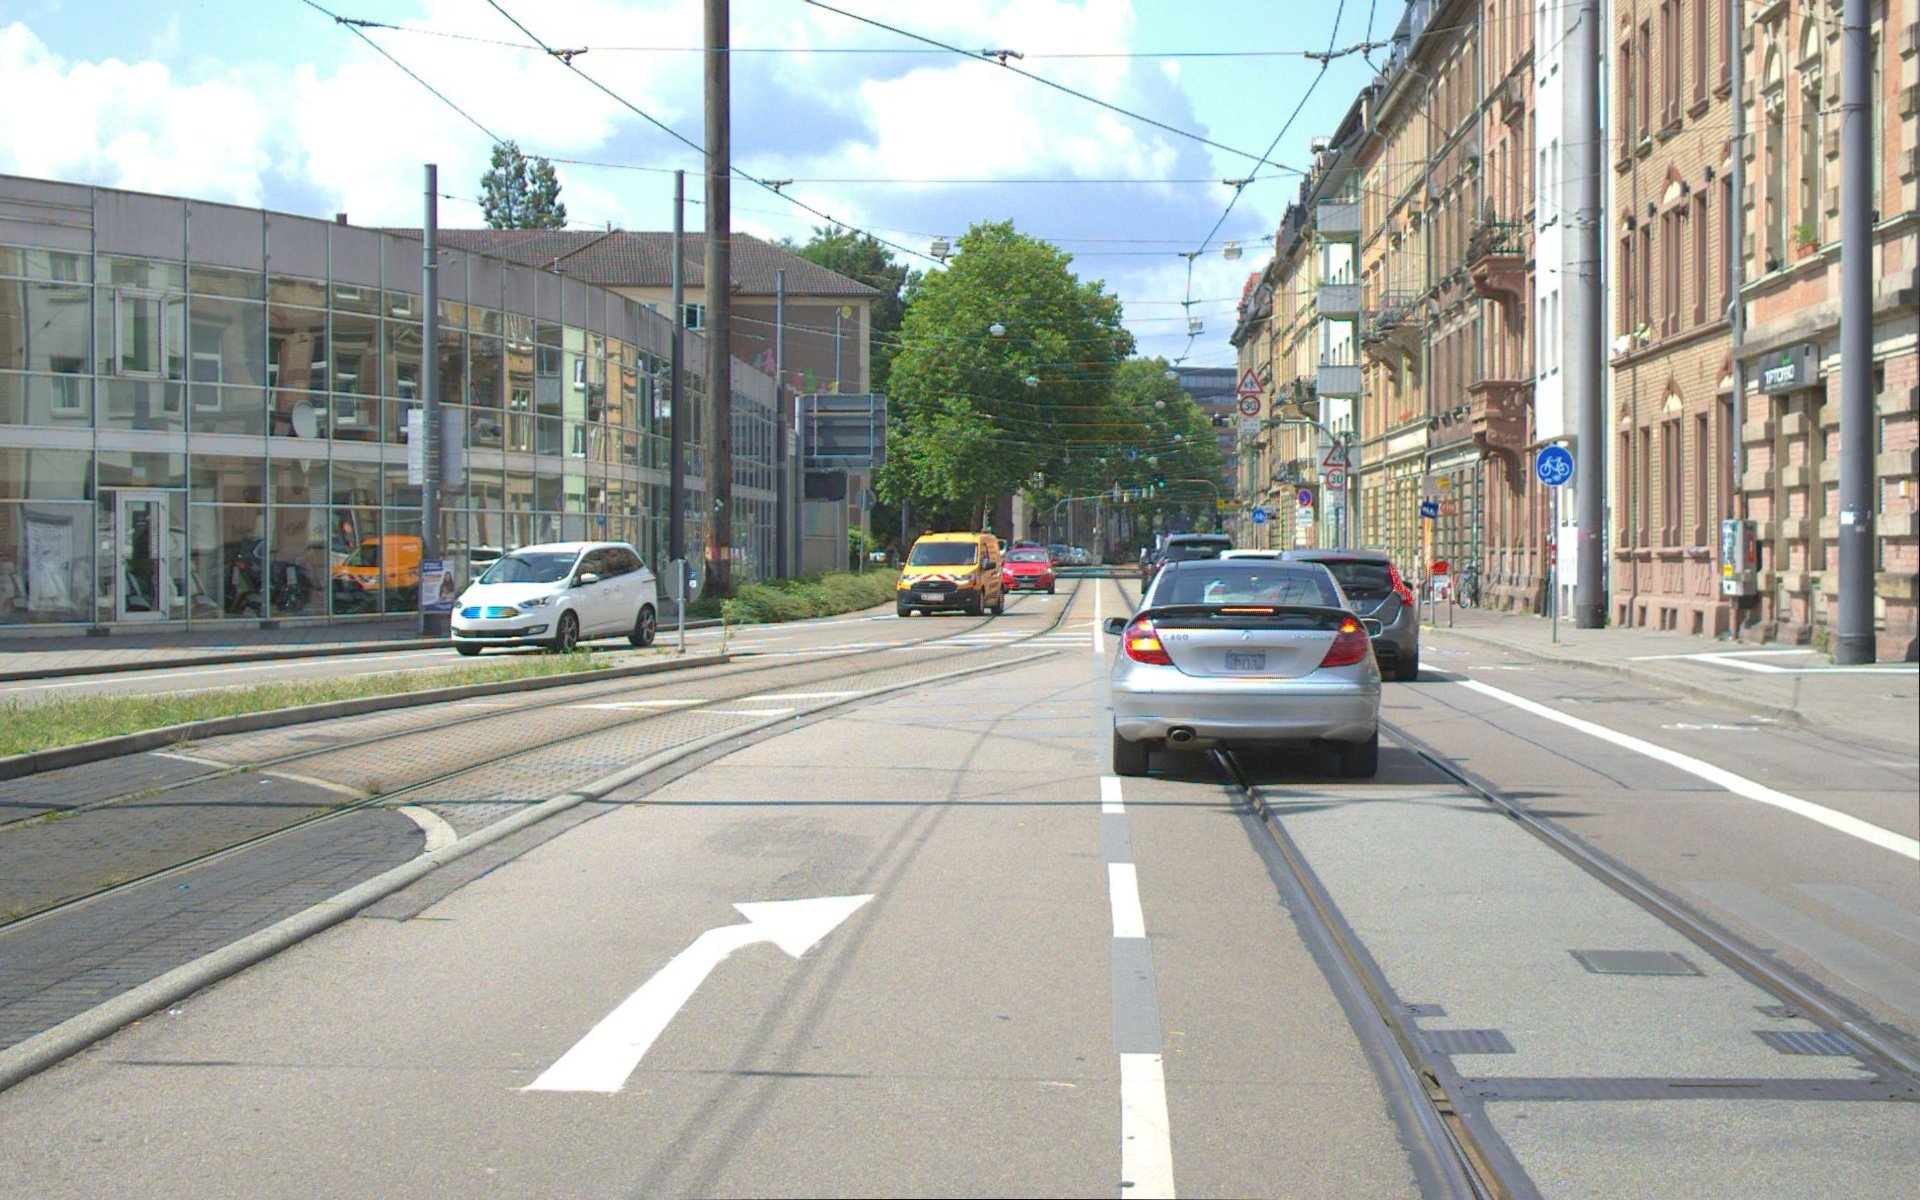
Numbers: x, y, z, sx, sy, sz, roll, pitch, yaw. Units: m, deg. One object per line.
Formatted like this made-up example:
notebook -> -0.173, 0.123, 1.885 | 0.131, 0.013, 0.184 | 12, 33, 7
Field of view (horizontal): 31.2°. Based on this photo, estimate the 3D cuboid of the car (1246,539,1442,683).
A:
car -> 4.353, 0.085, 39.476 | 1.814, 1.519, 4.085 | 0, 2, 0

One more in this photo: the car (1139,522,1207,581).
car -> 6.840, -1.571, 110.707 | 1.993, 1.853, 4.000 | 0, 1, 1

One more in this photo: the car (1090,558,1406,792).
car -> 1.851, 0.437, 23.252 | 1.814, 1.415, 4.188 | 0, 1, 0

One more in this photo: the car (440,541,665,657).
car -> -6.133, -0.043, 52.308 | 1.768, 1.598, 4.490 | -1, 1, 16

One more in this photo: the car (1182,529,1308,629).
car -> 4.459, -0.354, 54.230 | 1.814, 1.519, 3.955 | 0, 1, 2

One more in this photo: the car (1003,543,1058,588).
car -> 2.259, -1.113, 109.257 | 1.702, 1.423, 3.902 | 0, 1, 2

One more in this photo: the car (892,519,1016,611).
car -> -0.090, -0.784, 73.639 | 1.912, 1.859, 4.366 | -1, 1, 10

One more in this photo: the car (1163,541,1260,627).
car -> 5.034, -0.344, 69.191 | 1.814, 1.656, 4.085 | 0, 1, 2

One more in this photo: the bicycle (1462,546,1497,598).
bicycle -> 12.113, -0.666, 80.219 | 0.586, 1.174, 2.205 | -1, 1, 3

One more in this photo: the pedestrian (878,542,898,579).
pedestrian -> -3.668, -2.031, 174.986 | 0.880, 1.859, 1.081 | -1, 1, 3

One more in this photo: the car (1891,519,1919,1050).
car -> 3.951, 0.620, 8.756 | 1.852, 1.628, 4.181 | 2, 1, -2
